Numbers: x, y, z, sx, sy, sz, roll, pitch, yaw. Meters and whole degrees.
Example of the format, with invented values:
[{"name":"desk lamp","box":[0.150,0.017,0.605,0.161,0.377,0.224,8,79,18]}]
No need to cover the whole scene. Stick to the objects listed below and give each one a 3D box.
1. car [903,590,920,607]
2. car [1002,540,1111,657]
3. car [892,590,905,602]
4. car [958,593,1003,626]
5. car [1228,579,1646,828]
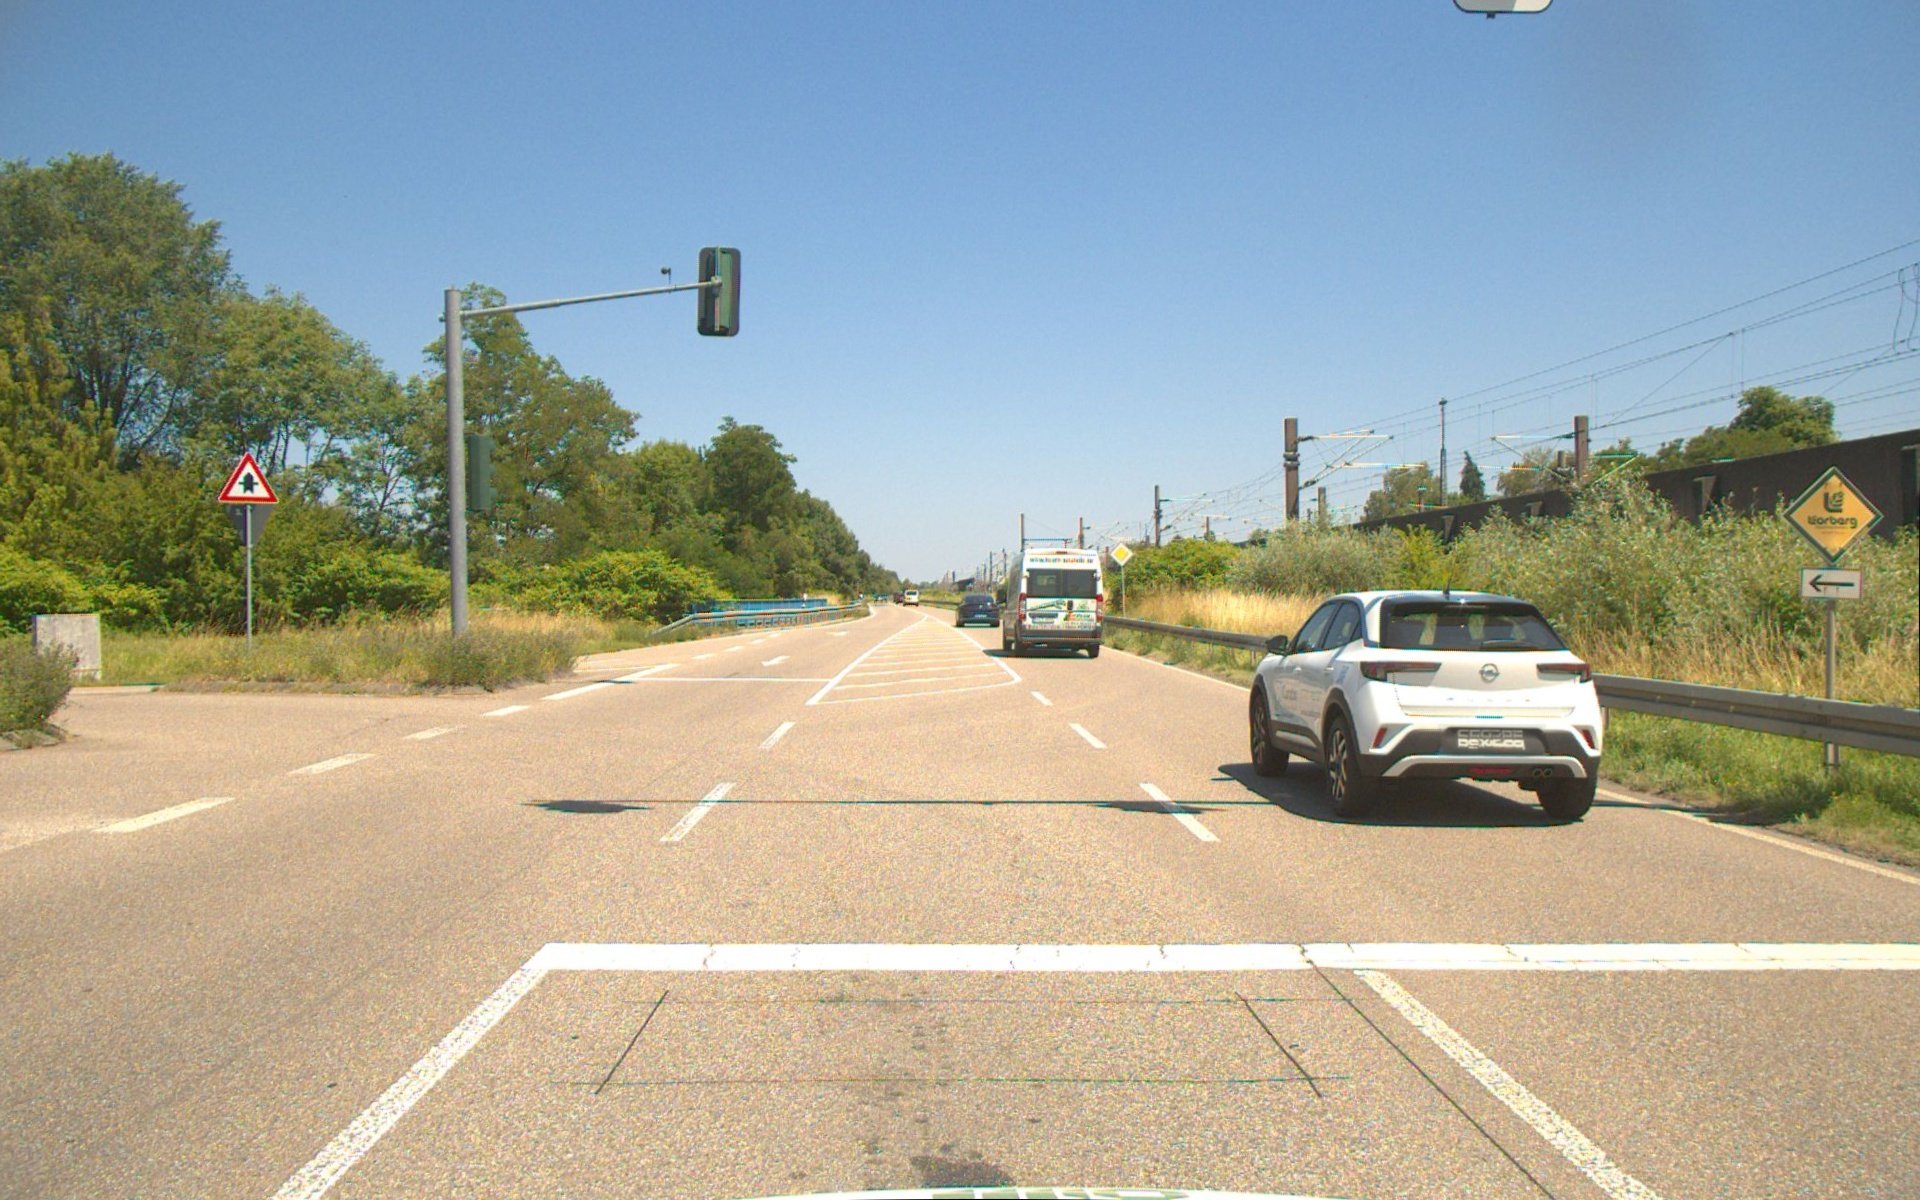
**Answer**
[{"name":"car","box":[-5.990,-0.204,202.832,1.953,2.018,4.058,1,0,-3]},{"name":"car","box":[2.291,-0.065,41.210,2.144,2.649,6.749,1,0,-1]},{"name":"car","box":[-9.456,-0.587,255.588,1.979,1.756,4.540,0,0,-3]},{"name":"car","box":[0.889,0.391,73.290,1.819,1.404,4.502,1,0,-2]},{"name":"car","box":[3.416,0.652,12.749,1.782,1.591,4.276,0,0,-3]}]
